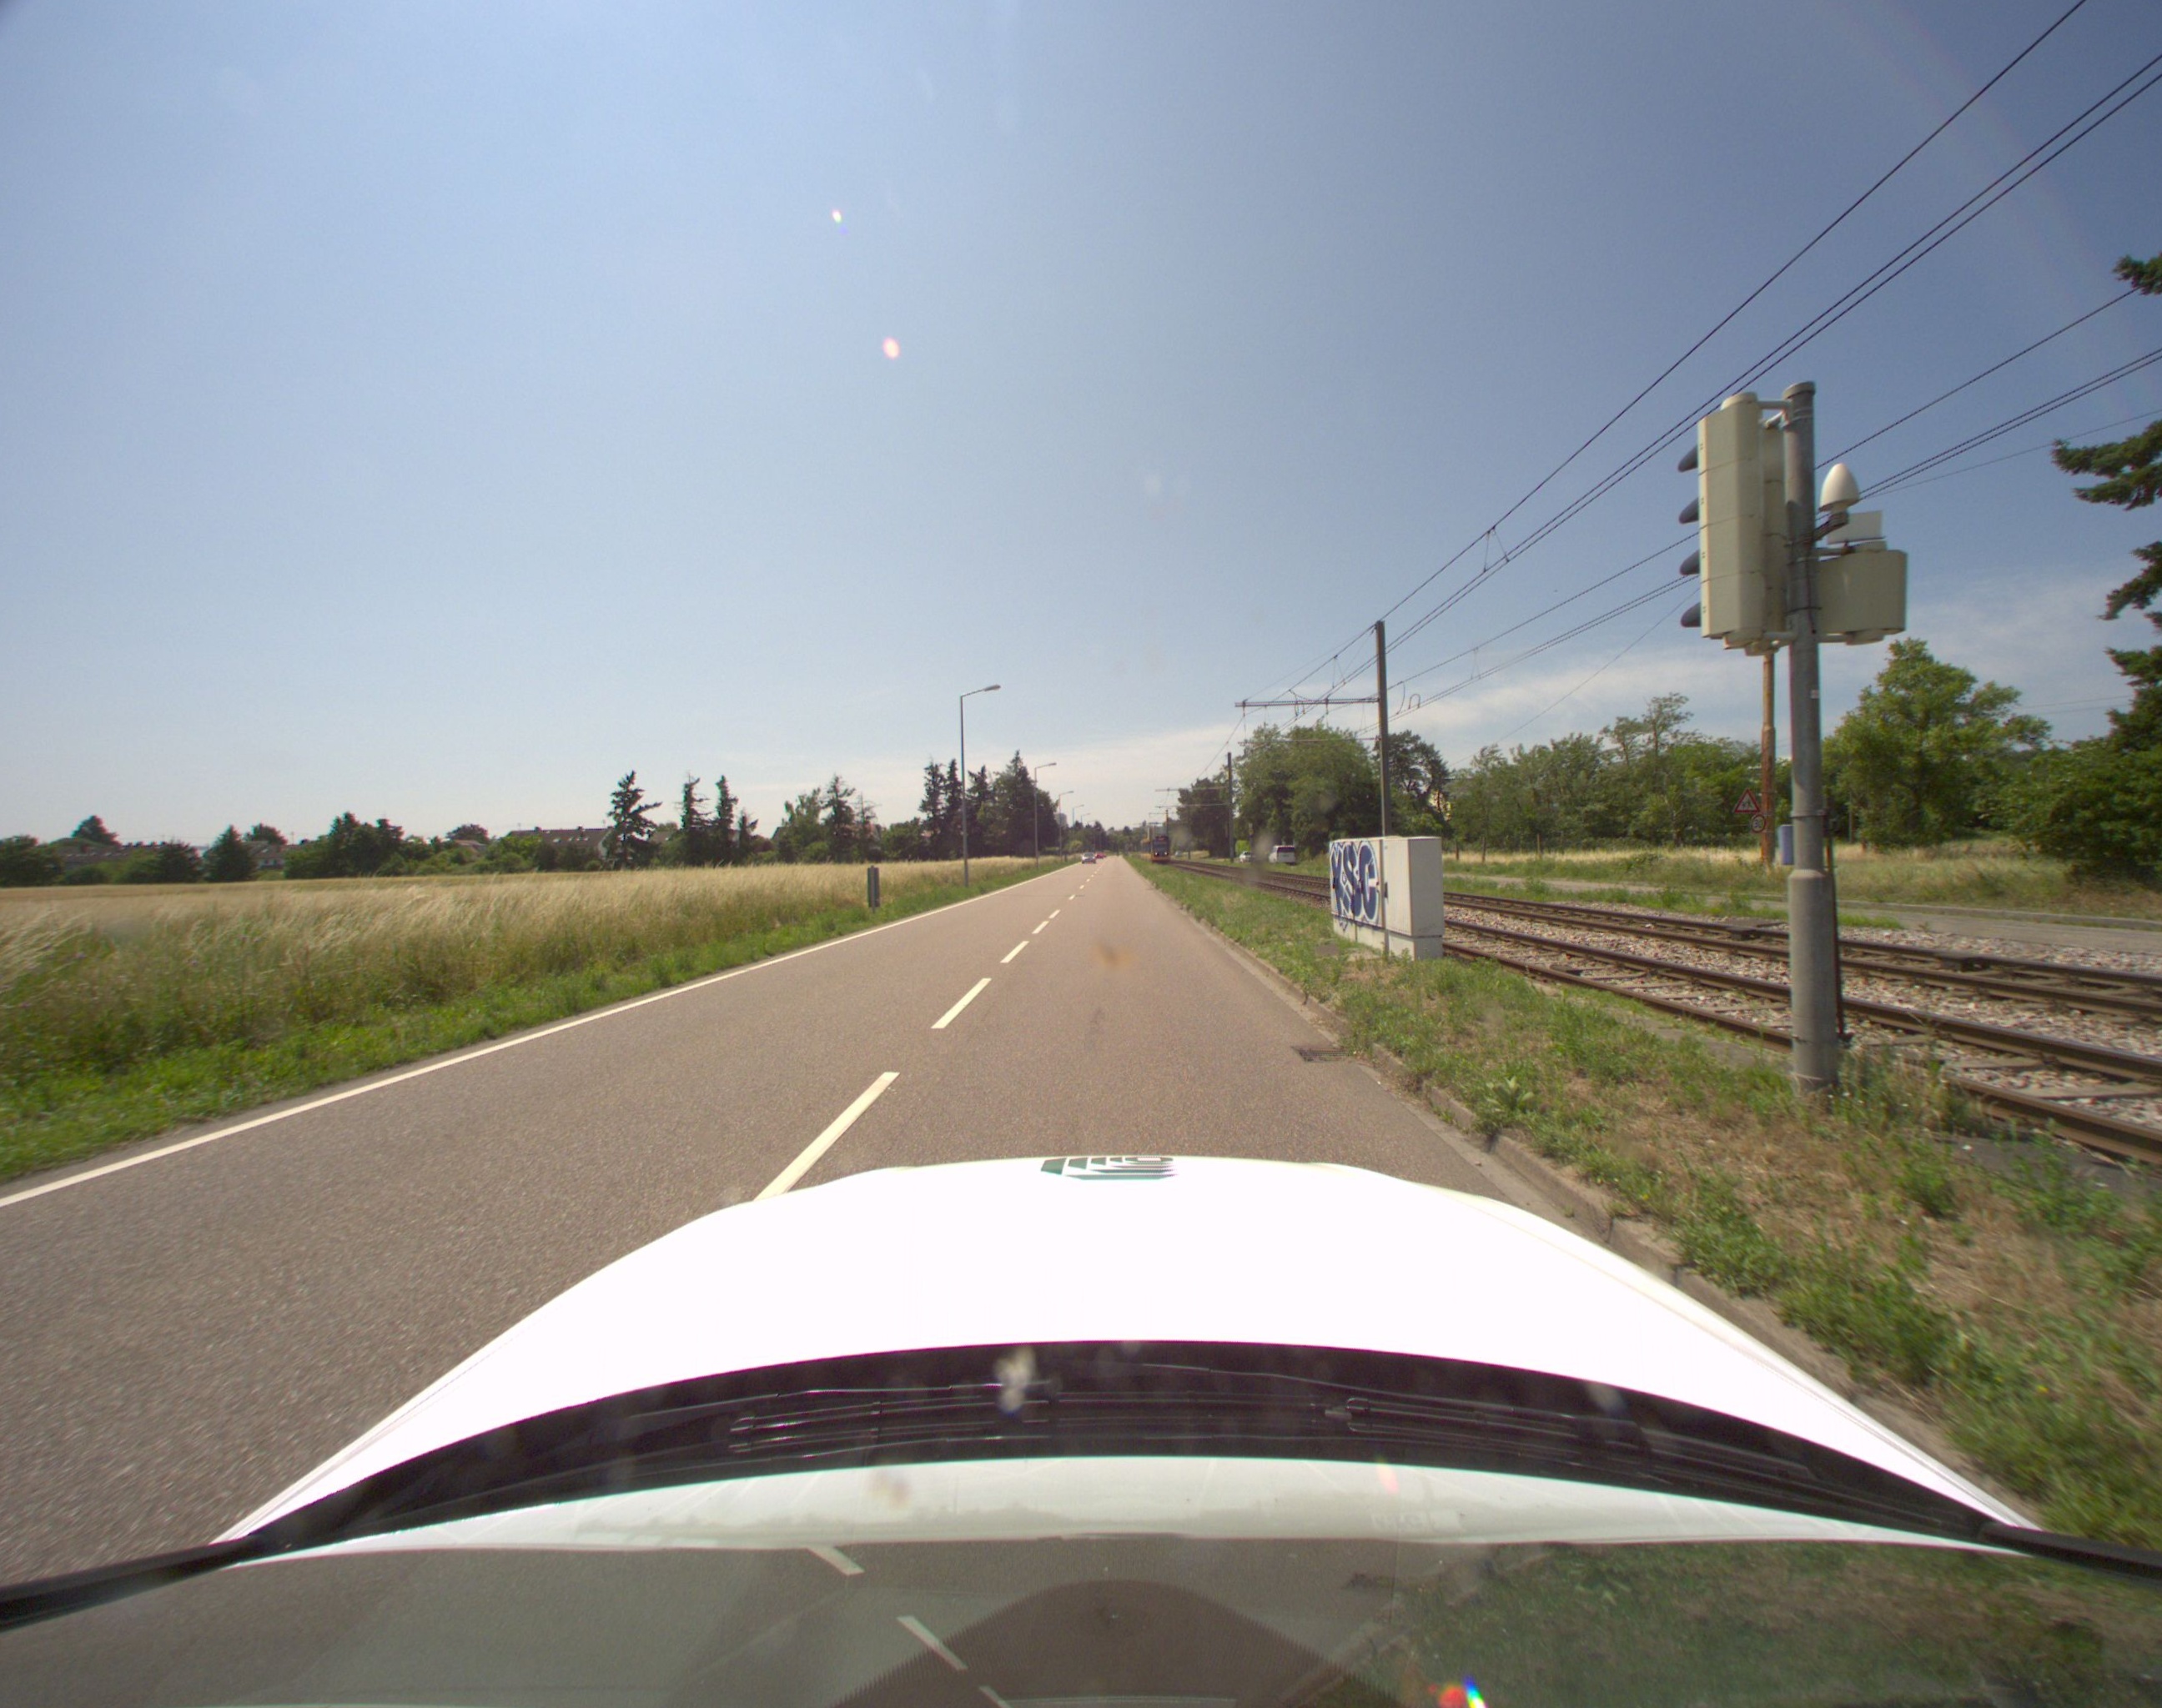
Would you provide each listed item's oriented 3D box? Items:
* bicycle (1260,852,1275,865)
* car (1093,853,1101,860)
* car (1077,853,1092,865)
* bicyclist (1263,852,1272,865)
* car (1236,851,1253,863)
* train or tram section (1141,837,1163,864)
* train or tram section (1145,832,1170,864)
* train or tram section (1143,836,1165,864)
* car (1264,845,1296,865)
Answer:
[{"bbox_3d":[20.460,0.521,89.367,0.924,1.430,3.387,-2,-1,2],"label":"bicycle"},{"bbox_3d":[3.209,0.482,162.557,1.639,1.400,3.846,-2,-1,2],"label":"car"},{"bbox_3d":[0.543,0.706,110.530,1.827,1.467,4.680,-2,-1,2],"label":"car"},{"bbox_3d":[20.448,0.472,89.235,0.699,1.338,0.904,-2,-1,2],"label":"bicyclist"},{"bbox_3d":[19.604,0.379,97.907,1.422,1.308,3.467,-2,-1,2],"label":"car"},{"bbox_3d":[10.354,-0.456,119.611,2.691,3.766,6.732,-2,-1,2],"label":"train or tram section"},{"bbox_3d":[9.684,-0.652,103.687,2.420,3.766,11.564,-2,-1,2],"label":"train or tram section"},{"bbox_3d":[10.091,-0.524,112.847,2.551,3.714,6.732,-2,-1,2],"label":"train or tram section"},{"bbox_3d":[19.164,0.147,78.545,1.986,1.802,4.796,-2,-1,2],"label":"car"}]
